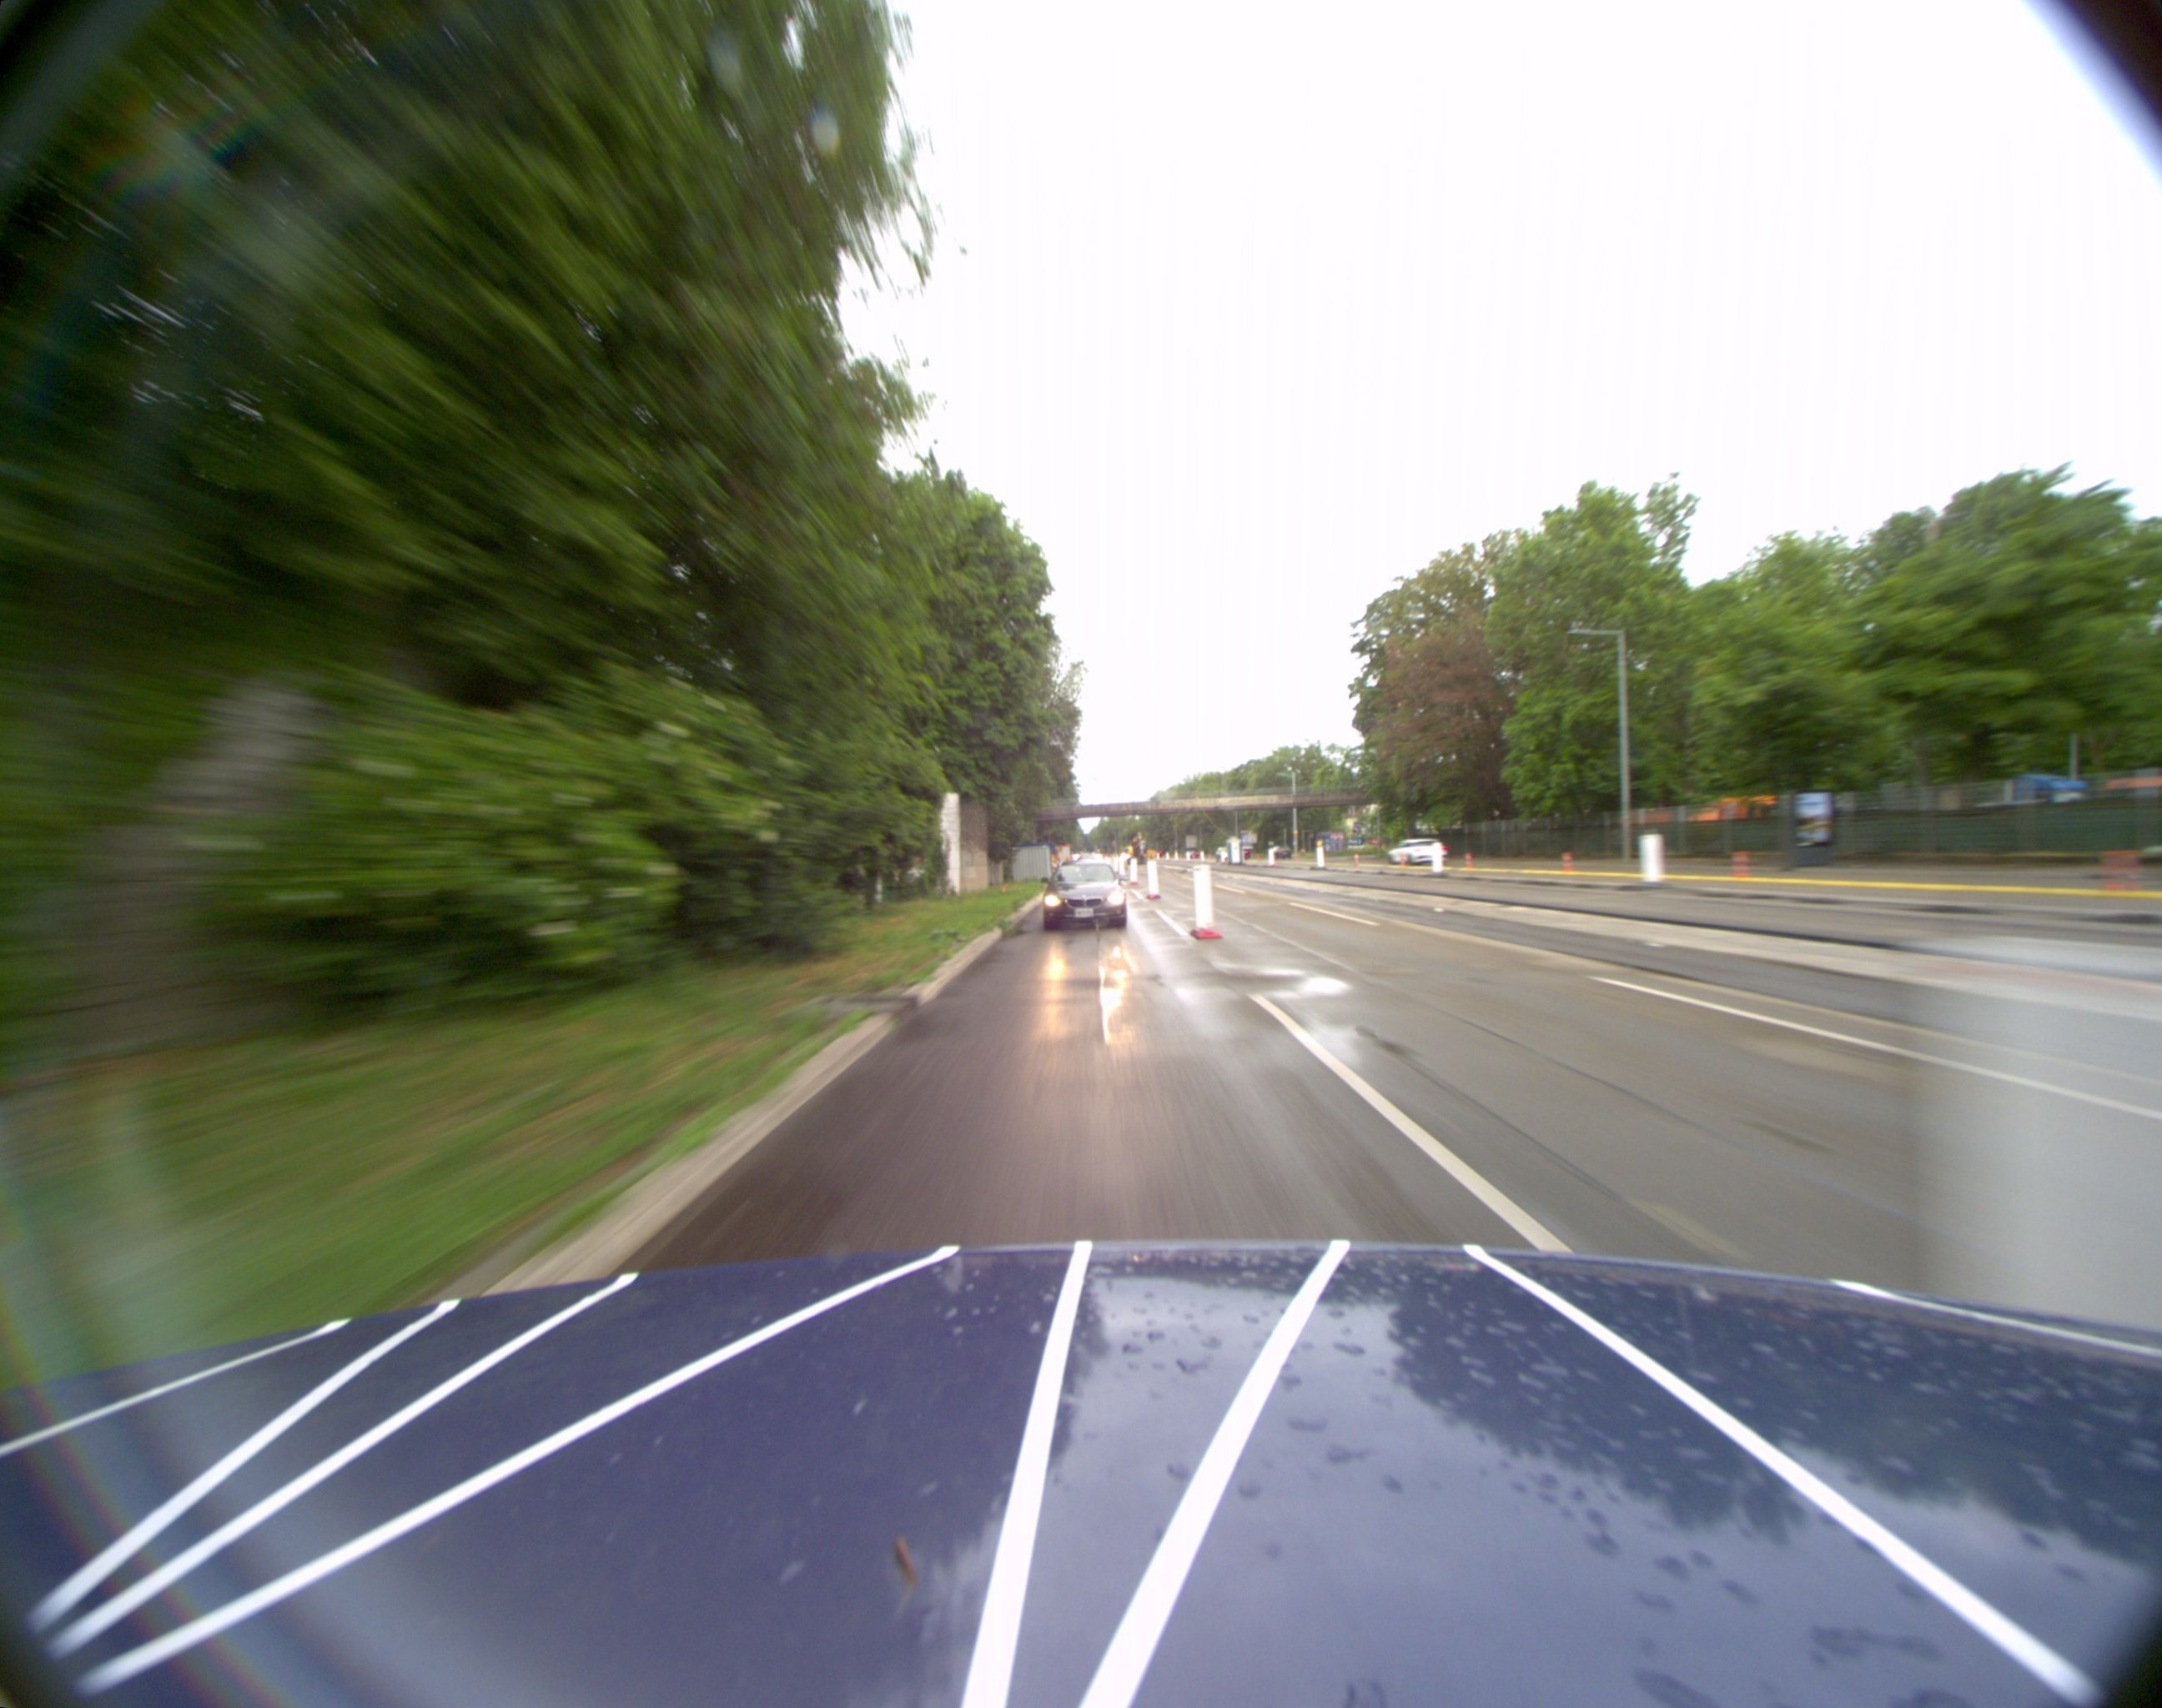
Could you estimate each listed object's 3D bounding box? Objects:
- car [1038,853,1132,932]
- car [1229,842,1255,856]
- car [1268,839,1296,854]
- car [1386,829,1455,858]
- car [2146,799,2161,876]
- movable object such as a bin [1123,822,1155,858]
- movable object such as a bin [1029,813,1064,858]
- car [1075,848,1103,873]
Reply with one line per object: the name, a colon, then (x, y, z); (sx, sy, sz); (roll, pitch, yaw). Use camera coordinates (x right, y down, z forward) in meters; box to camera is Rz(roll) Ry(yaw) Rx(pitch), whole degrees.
car: (0.071, 0.779, 17.396); (1.838, 1.398, 3.998); (-3, 2, -1)
car: (19.820, -0.645, 93.667); (2.083, 1.504, 5.089); (-3, 1, 1)
car: (22.446, -0.906, 85.084); (1.998, 1.509, 4.304); (-3, 2, 1)
car: (19.101, -0.607, 42.919); (1.998, 1.504, 4.265); (-3, 1, 1)
car: (21.119, -0.322, 12.214); (1.999, 1.421, 4.264); (-3, 1, 0)
movable object such as a bin: (7.765, -1.916, 103.370); (3.526, 4.496, 10.067); (-3, 2, 1)
movable object such as a bin: (-3.145, -1.744, 71.497); (2.889, 3.918, 6.103); (-3, 2, -1)
car: (0.608, 0.443, 58.033); (1.998, 1.651, 4.228); (-3, 2, 1)
